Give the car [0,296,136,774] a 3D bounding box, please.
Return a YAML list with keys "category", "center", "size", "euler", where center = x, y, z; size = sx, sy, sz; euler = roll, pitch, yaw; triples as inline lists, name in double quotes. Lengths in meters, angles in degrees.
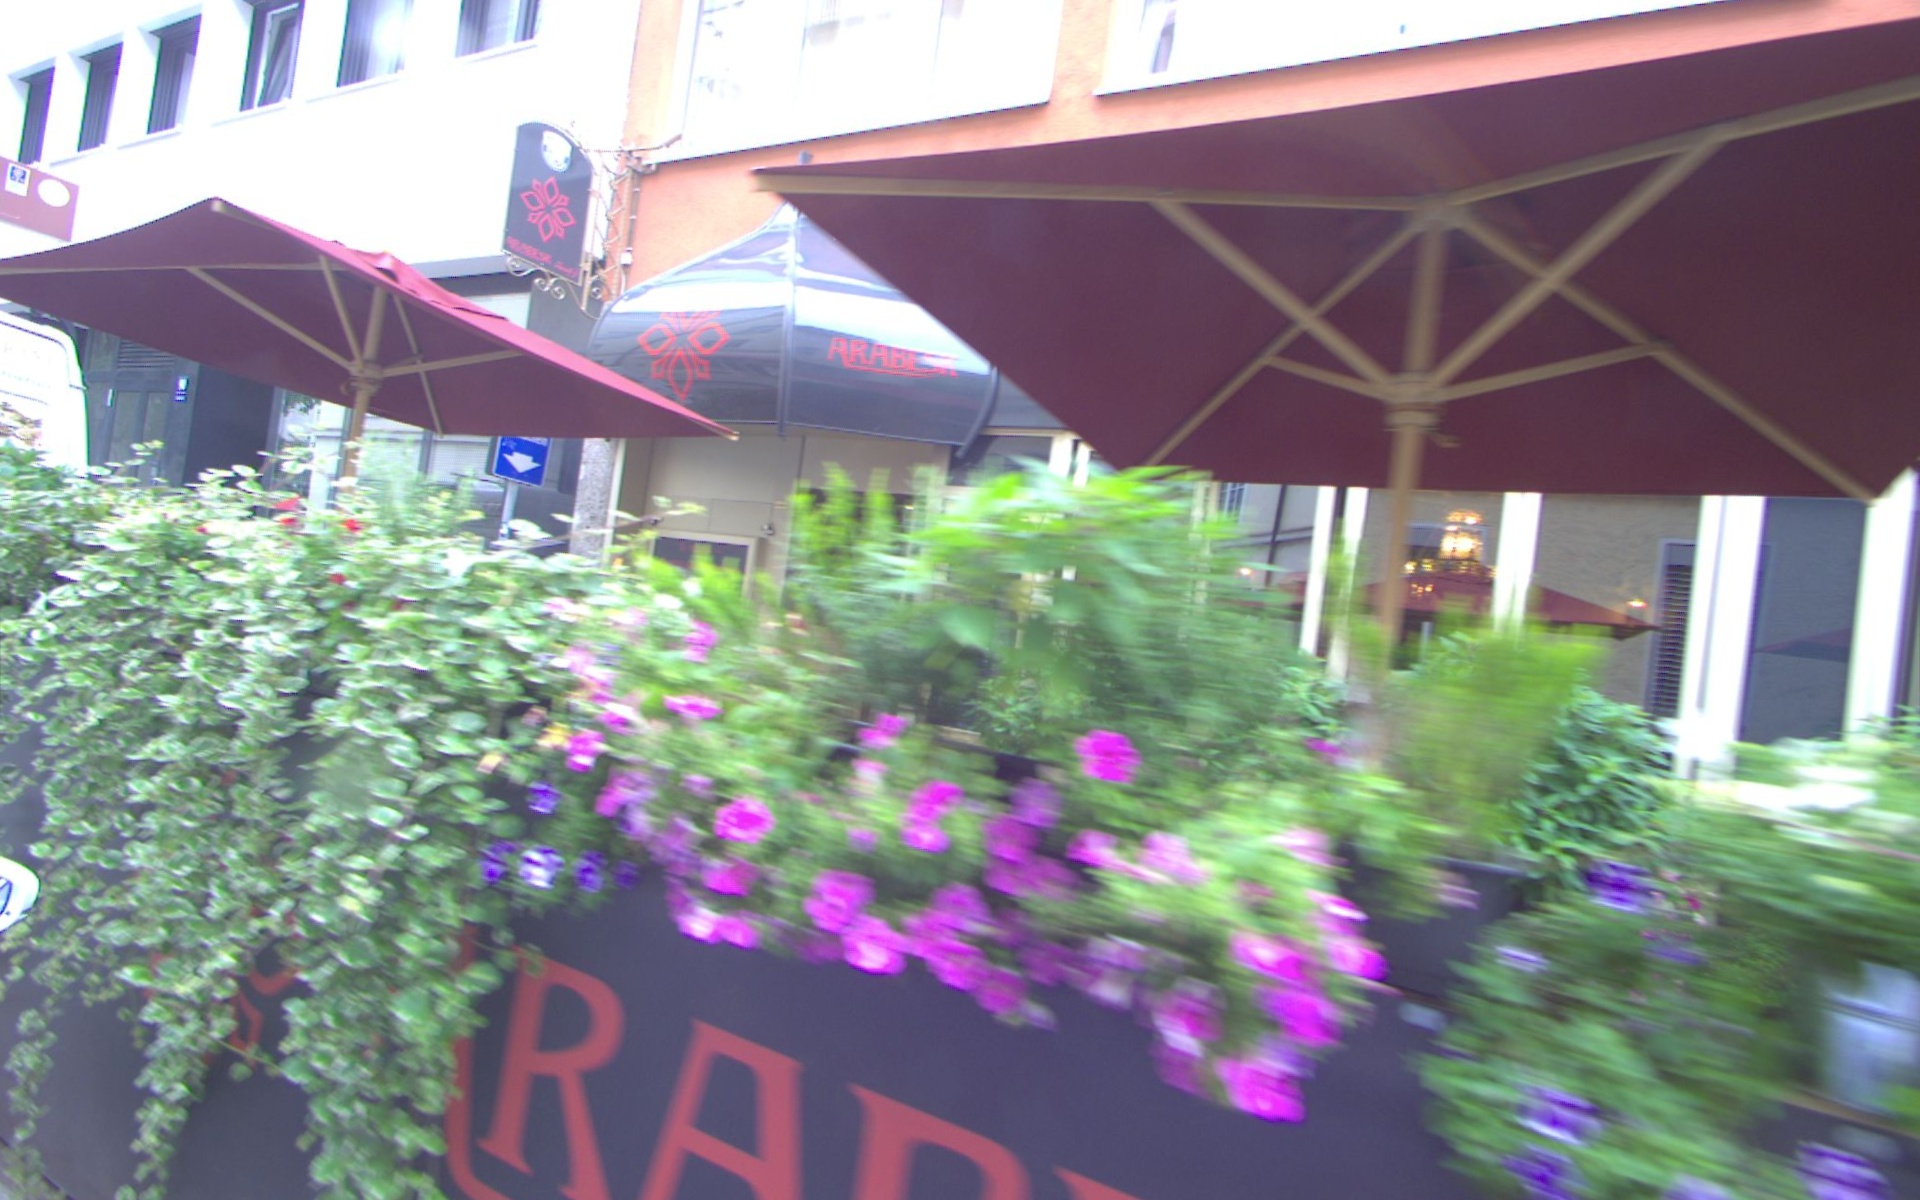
- category: "car"
  center: [-7.958, -0.710, 6.322]
  size: [5.893, 2.533, 1.927]
  euler: [7, -3, 28]
